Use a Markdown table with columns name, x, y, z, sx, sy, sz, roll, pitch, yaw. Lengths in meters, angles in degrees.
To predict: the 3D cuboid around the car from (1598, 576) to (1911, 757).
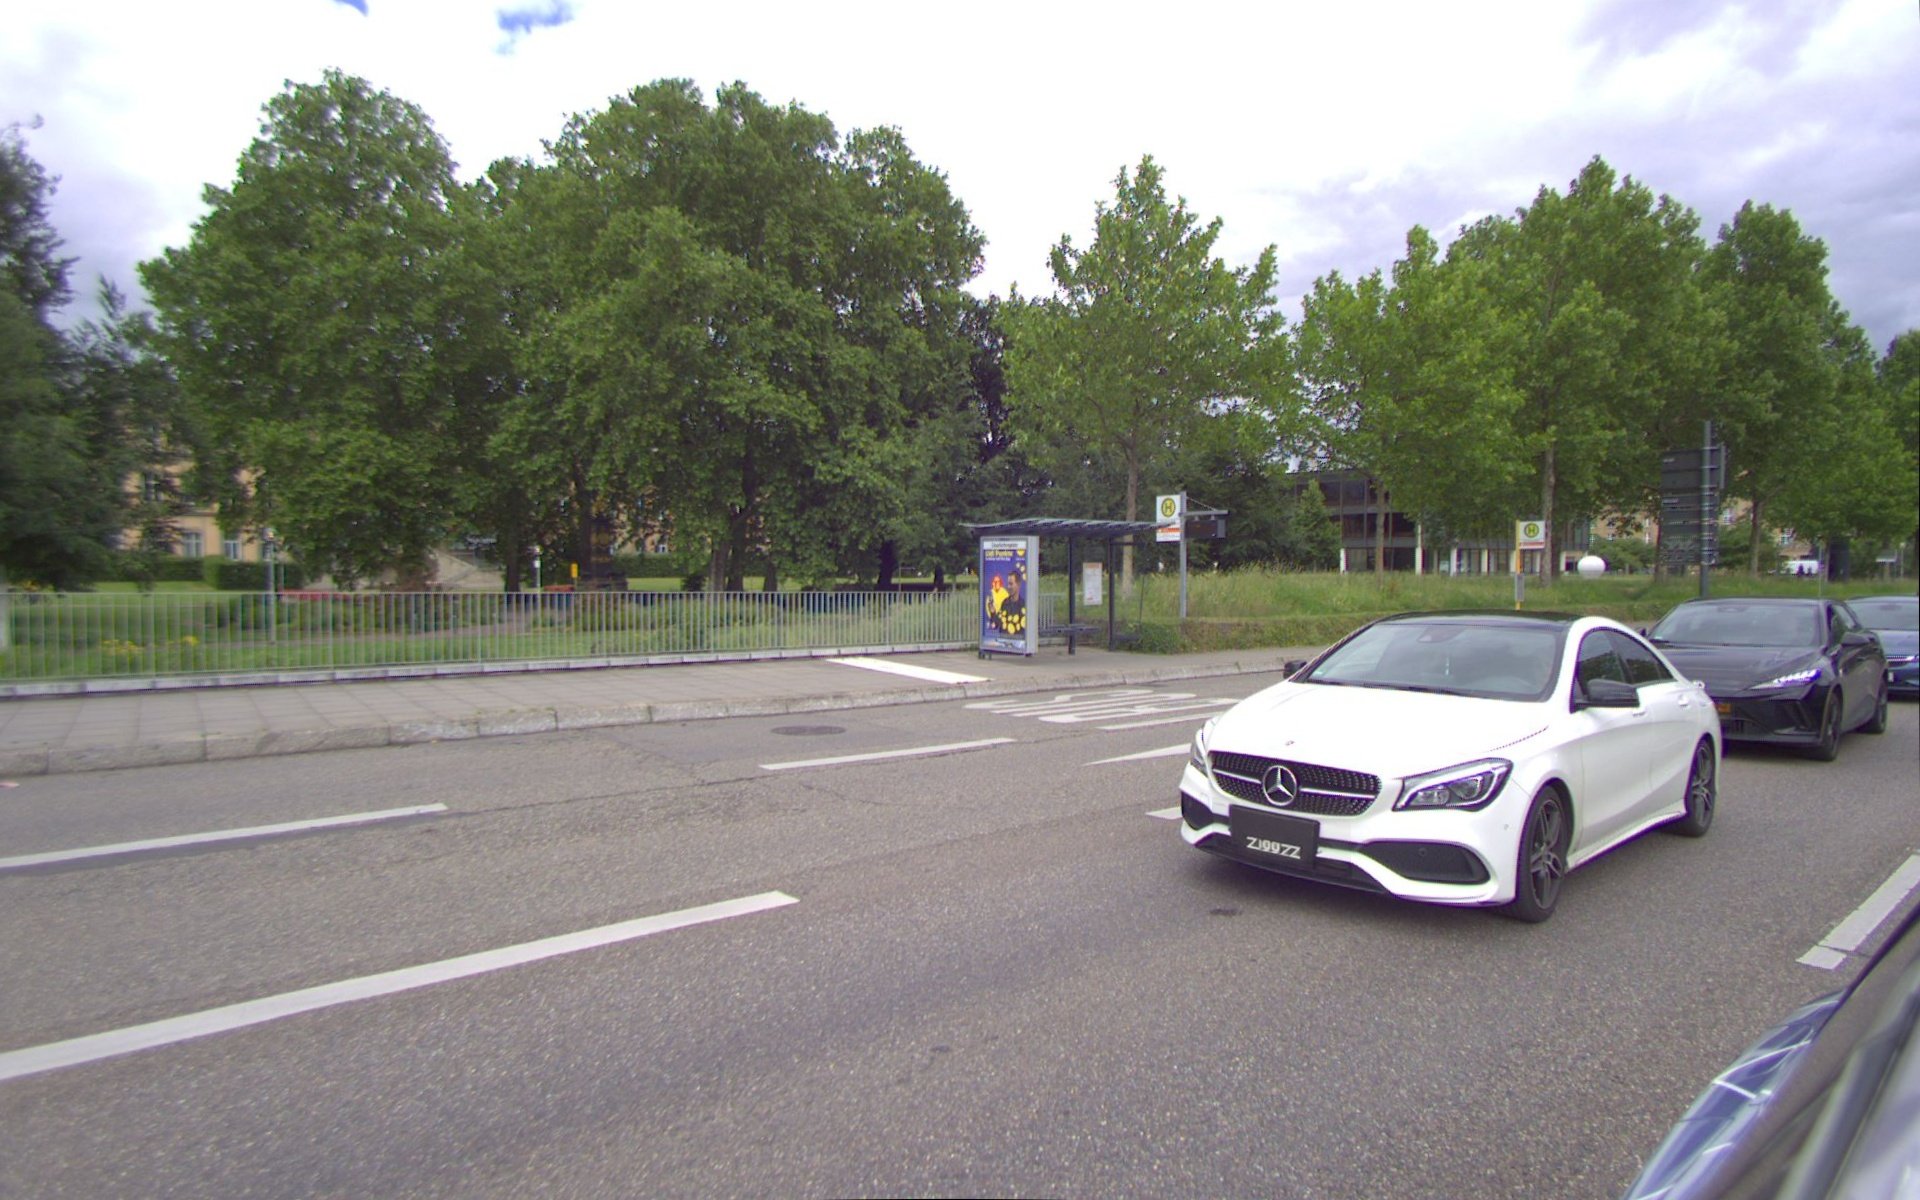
| name | x | y | z | sx | sy | sz | roll | pitch | yaw |
| --- | --- | --- | --- | --- | --- | --- | --- | --- | --- |
| car | 8.451 | 0.563 | 10.641 | 4.047 | 1.543 | 1.829 | 0 | 0 | -40 |

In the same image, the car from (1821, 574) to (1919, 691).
| name | x | y | z | sx | sy | sz | roll | pitch | yaw |
| --- | --- | --- | --- | --- | --- | --- | --- | --- | --- |
| car | 14.158 | 0.413 | 14.902 | 3.930 | 1.556 | 1.573 | -1 | 1 | -39 |

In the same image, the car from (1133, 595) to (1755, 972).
| name | x | y | z | sx | sy | sz | roll | pitch | yaw |
| --- | --- | --- | --- | --- | --- | --- | --- | --- | --- |
| car | 3.145 | 0.713 | 6.089 | 4.426 | 1.441 | 1.722 | -1 | 1 | -40 |
